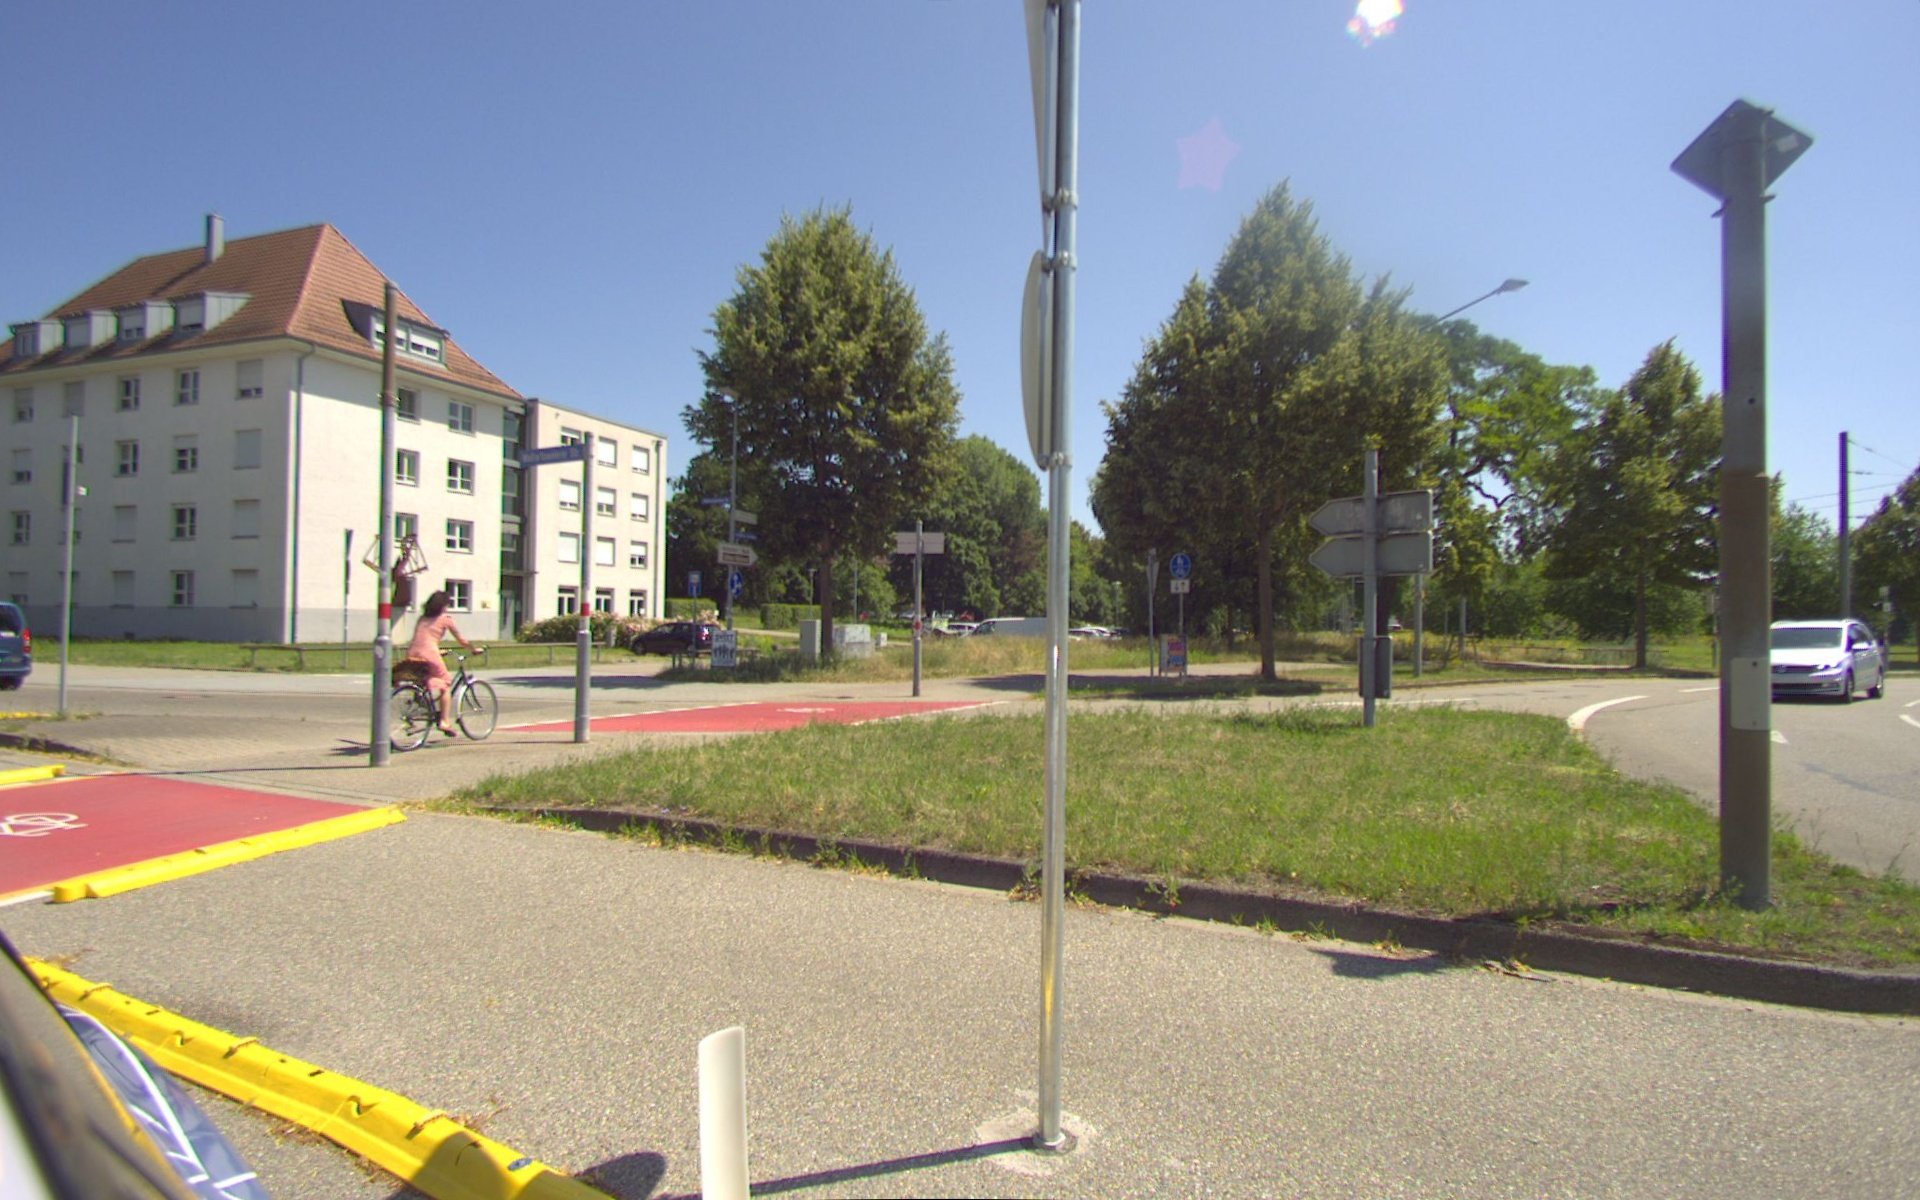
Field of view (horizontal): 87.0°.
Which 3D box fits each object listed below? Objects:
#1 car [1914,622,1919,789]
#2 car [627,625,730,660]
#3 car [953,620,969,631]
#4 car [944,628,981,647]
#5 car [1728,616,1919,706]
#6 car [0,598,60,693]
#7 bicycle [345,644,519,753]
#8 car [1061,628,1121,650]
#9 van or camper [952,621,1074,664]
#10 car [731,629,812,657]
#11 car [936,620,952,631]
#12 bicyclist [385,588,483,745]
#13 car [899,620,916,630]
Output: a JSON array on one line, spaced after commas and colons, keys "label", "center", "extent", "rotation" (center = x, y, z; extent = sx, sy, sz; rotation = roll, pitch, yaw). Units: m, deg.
[{"label": "car", "center": [8.369, 0.829, 6.180], "extent": [1.844, 1.447, 4.922], "rotation": [0, -2, 20]}, {"label": "car", "center": [-11.383, 1.707, 40.966], "extent": [3.781, 1.337, 1.648], "rotation": [0, -2, 22]}, {"label": "car", "center": [0.150, 3.433, 136.992], "extent": [1.466, 1.427, 3.012], "rotation": [0, -2, 16]}, {"label": "car", "center": [0.171, 2.679, 72.820], "extent": [2.517, 1.368, 1.073], "rotation": [0, -2, 28]}, {"label": "car", "center": [17.723, 1.193, 20.656], "extent": [4.527, 1.661, 1.811], "rotation": [1, -3, -33]}, {"label": "car", "center": [-19.972, 0.881, 19.669], "extent": [4.166, 1.783, 1.681], "rotation": [-1, -2, 15]}, {"label": "bicycle", "center": [-5.804, 1.045, 11.287], "extent": [0.435, 1.066, 2.079], "rotation": [1, -2, 13]}, {"label": "car", "center": [8.027, 2.405, 62.084], "extent": [3.368, 1.291, 1.343], "rotation": [0, -2, 29]}, {"label": "van or camper", "center": [2.426, 1.917, 46.181], "extent": [5.234, 1.871, 1.986], "rotation": [0, -2, 21]}, {"label": "car", "center": [-8.633, 1.969, 46.410], "extent": [3.489, 1.227, 1.347], "rotation": [0, -2, 22]}, {"label": "car", "center": [-2.149, 3.433, 137.843], "extent": [1.466, 1.427, 3.012], "rotation": [0, -2, 16]}, {"label": "bicyclist", "center": [-5.845, 0.727, 11.277], "extent": [0.640, 1.677, 0.707], "rotation": [0, -2, 13]}, {"label": "car", "center": [-7.173, 3.406, 138.937], "extent": [1.466, 1.427, 3.012], "rotation": [0, -2, 16]}]
